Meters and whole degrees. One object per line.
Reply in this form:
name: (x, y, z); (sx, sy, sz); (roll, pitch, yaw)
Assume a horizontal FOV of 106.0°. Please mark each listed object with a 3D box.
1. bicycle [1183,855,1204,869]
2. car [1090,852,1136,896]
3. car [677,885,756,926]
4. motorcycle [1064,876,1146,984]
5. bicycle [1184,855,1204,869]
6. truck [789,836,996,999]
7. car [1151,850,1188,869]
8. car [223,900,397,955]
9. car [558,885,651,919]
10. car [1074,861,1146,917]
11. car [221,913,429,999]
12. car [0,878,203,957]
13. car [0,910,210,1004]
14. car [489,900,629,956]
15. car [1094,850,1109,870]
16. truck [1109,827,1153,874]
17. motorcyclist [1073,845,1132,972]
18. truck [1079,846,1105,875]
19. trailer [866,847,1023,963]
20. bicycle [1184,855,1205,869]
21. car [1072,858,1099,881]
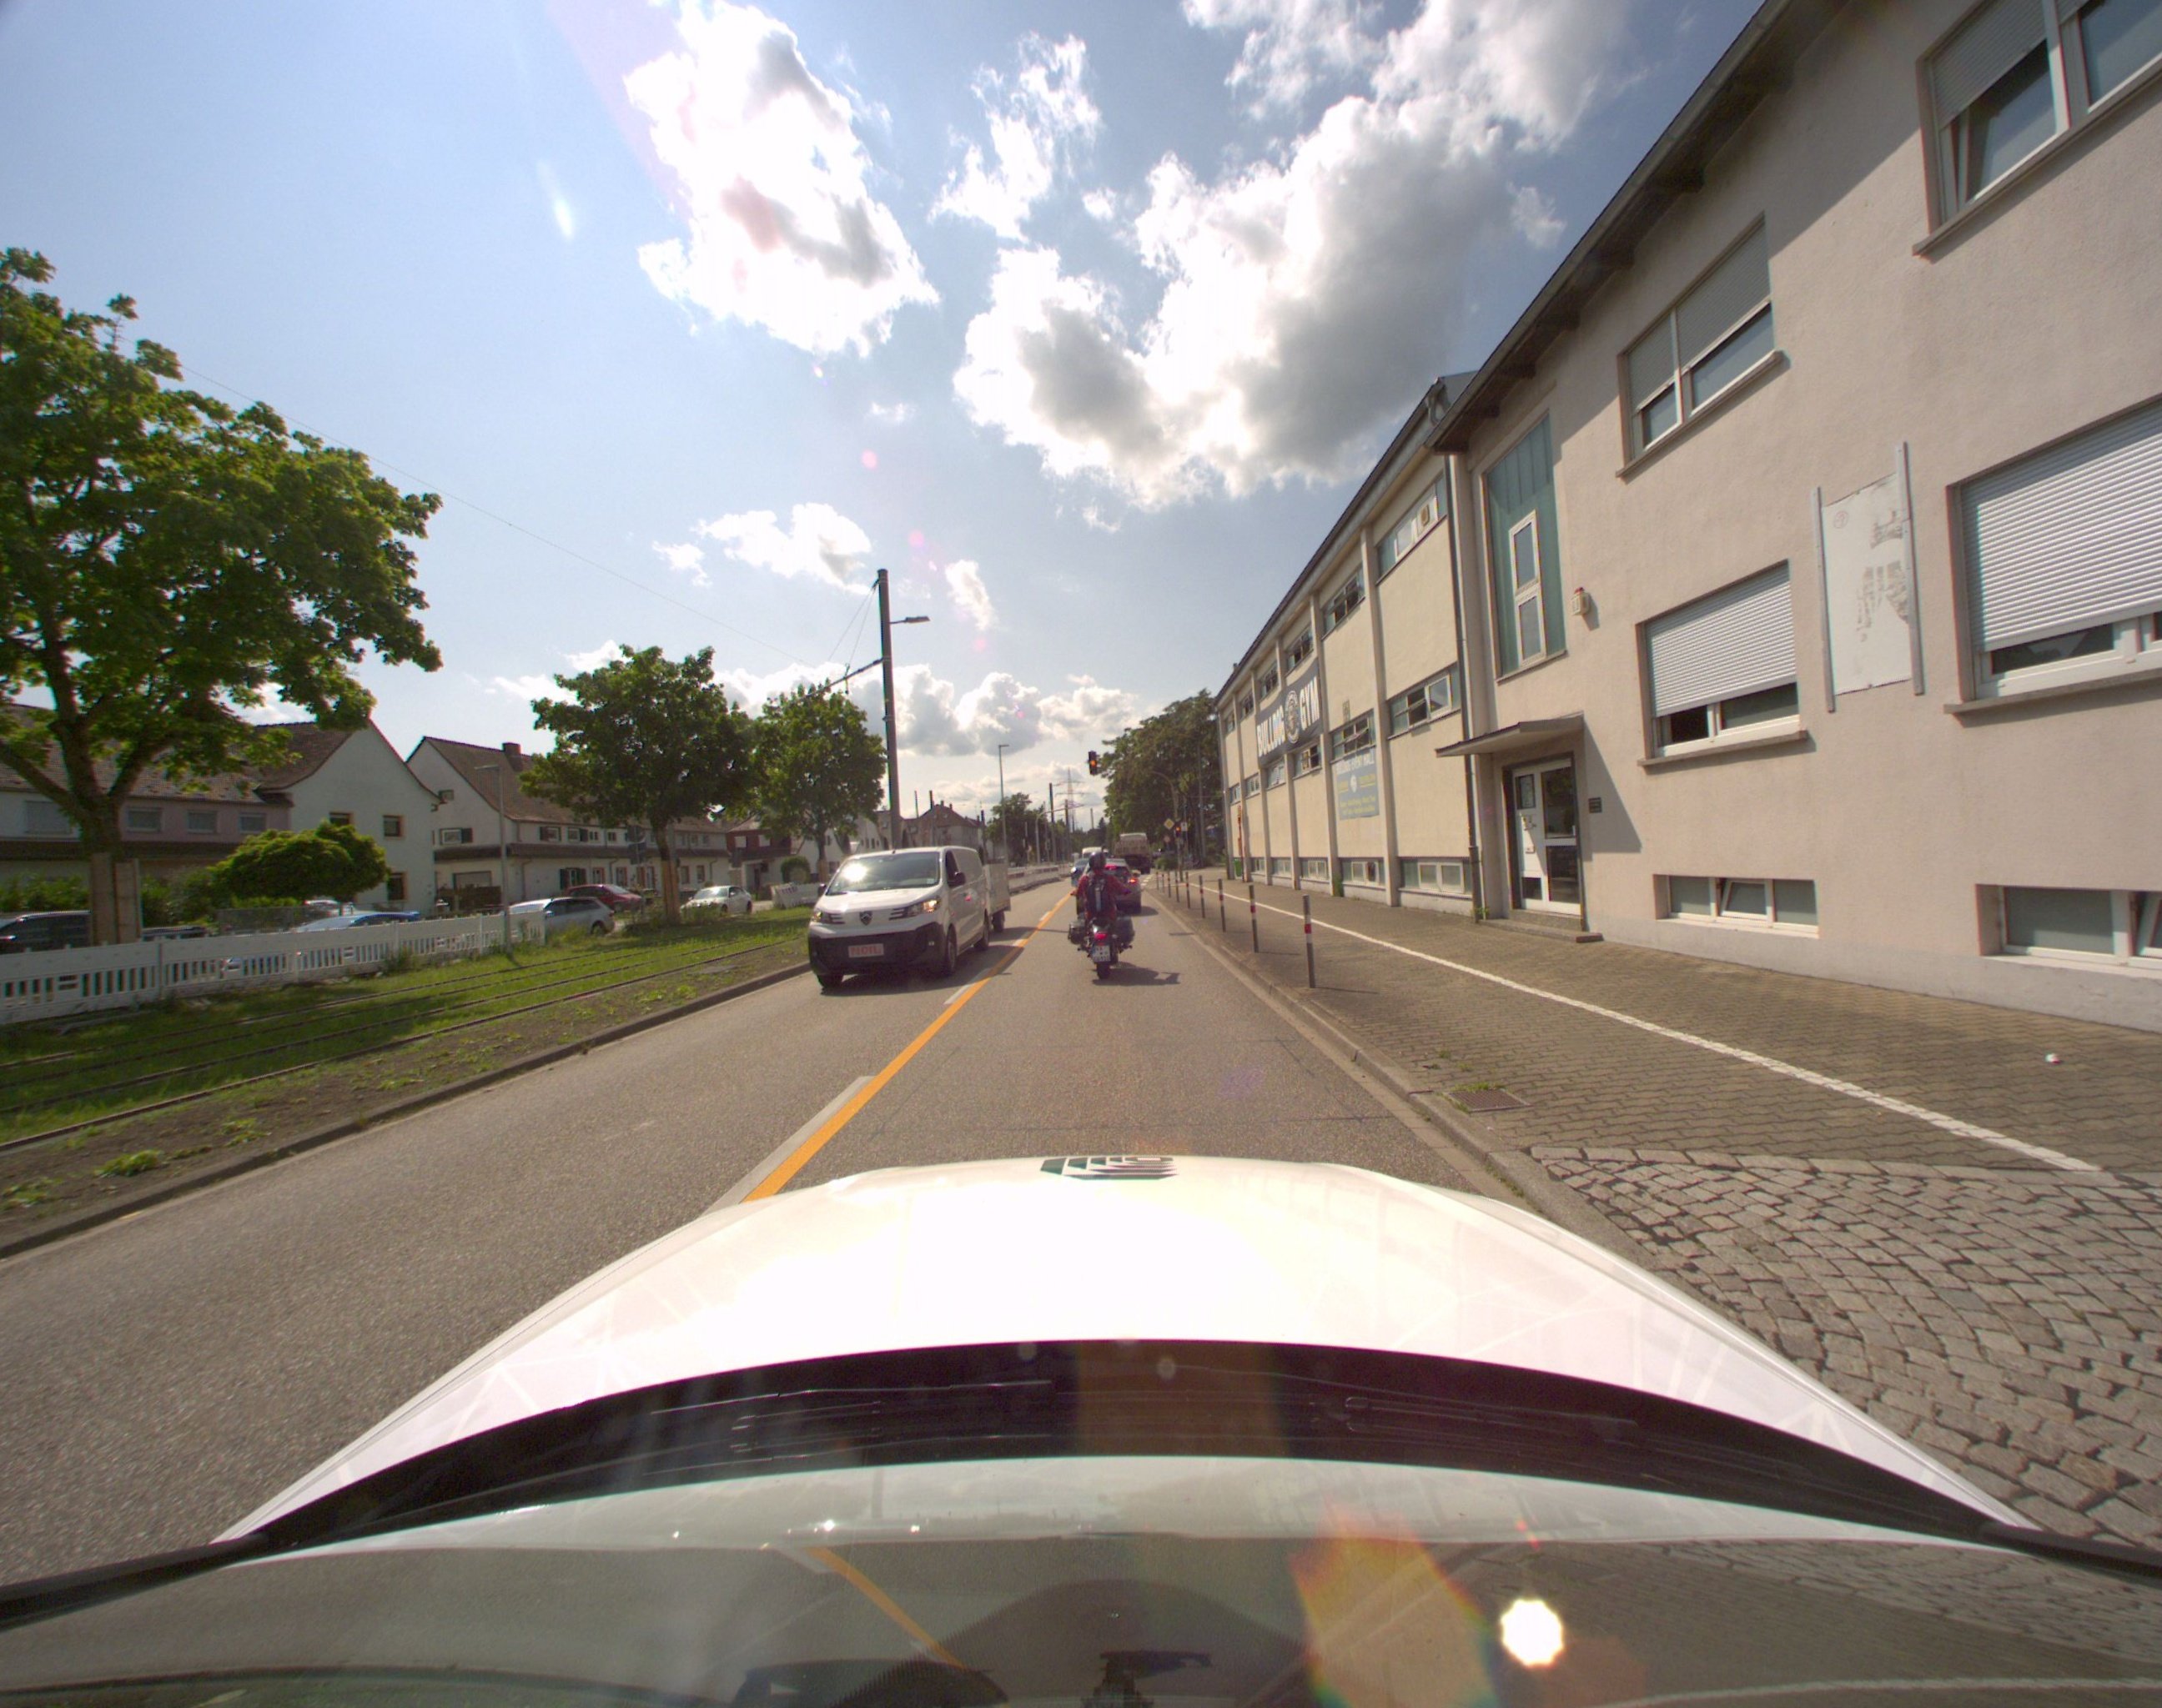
bicycle: (9.708, 0.694, 70.329); (1.698, 1.172, 0.439); (-2, -1, 7)
car: (1.548, 0.894, 38.057); (1.893, 1.712, 4.724); (-4, 1, 4)
car: (-15.325, 2.129, 34.467); (1.537, 1.376, 4.246); (-5, 0, -4)
motorcycle: (0.333, 0.945, 10.974); (0.939, 1.200, 2.473); (-2, 0, 2)
bicycle: (9.681, 0.694, 69.769); (1.698, 1.172, 0.439); (-2, -1, 7)
truck: (-2.682, 0.858, 13.000); (1.813, 1.909, 5.117); (-6, -1, 1)
car: (9.714, 0.606, 89.587); (4.022, 1.926, 1.781); (-1, -1, -43)
car: (-28.506, 2.684, 30.240); (4.405, 1.686, 1.794); (-2, -1, -9)
car: (-26.100, 2.614, 44.678); (3.973, 1.509, 1.726); (-4, 0, 0)
car: (0.755, 0.937, 23.554); (1.727, 1.403, 4.082); (-2, 0, -2)
car: (-15.709, 2.068, 17.137); (1.336, 1.325, 3.169); (-4, 0, 0)
car: (-28.856, 1.785, 23.782); (1.986, 2.014, 4.001); (-2, -1, 1)
car: (-20.518, 2.068, 16.814); (1.378, 1.495, 3.312); (-4, 0, 2)
car: (-15.020, 2.090, 23.688); (1.497, 1.176, 3.750); (-4, 0, 2)
car: (2.314, 0.647, 91.251); (1.582, 2.143, 3.629); (-2, -1, 3)
truck: (3.816, -0.184, 60.773); (2.954, 3.173, 7.773); (-2, -1, 5)
motorcyclist: (0.292, 0.705, 10.774); (0.695, 1.604, 0.692); (-2, -1, 2)
truck: (1.115, 0.581, 77.286); (2.084, 2.476, 5.200); (-5, 1, 3)
trailer: (-2.621, 0.936, 17.163); (2.055, 1.835, 5.487); (-6, -1, 2)
bicycle: (9.627, 0.686, 69.231); (1.698, 1.172, 0.439); (-2, -1, 7)
car: (0.332, 1.098, 58.751); (1.638, 1.498, 4.272); (-3, 0, 3)
